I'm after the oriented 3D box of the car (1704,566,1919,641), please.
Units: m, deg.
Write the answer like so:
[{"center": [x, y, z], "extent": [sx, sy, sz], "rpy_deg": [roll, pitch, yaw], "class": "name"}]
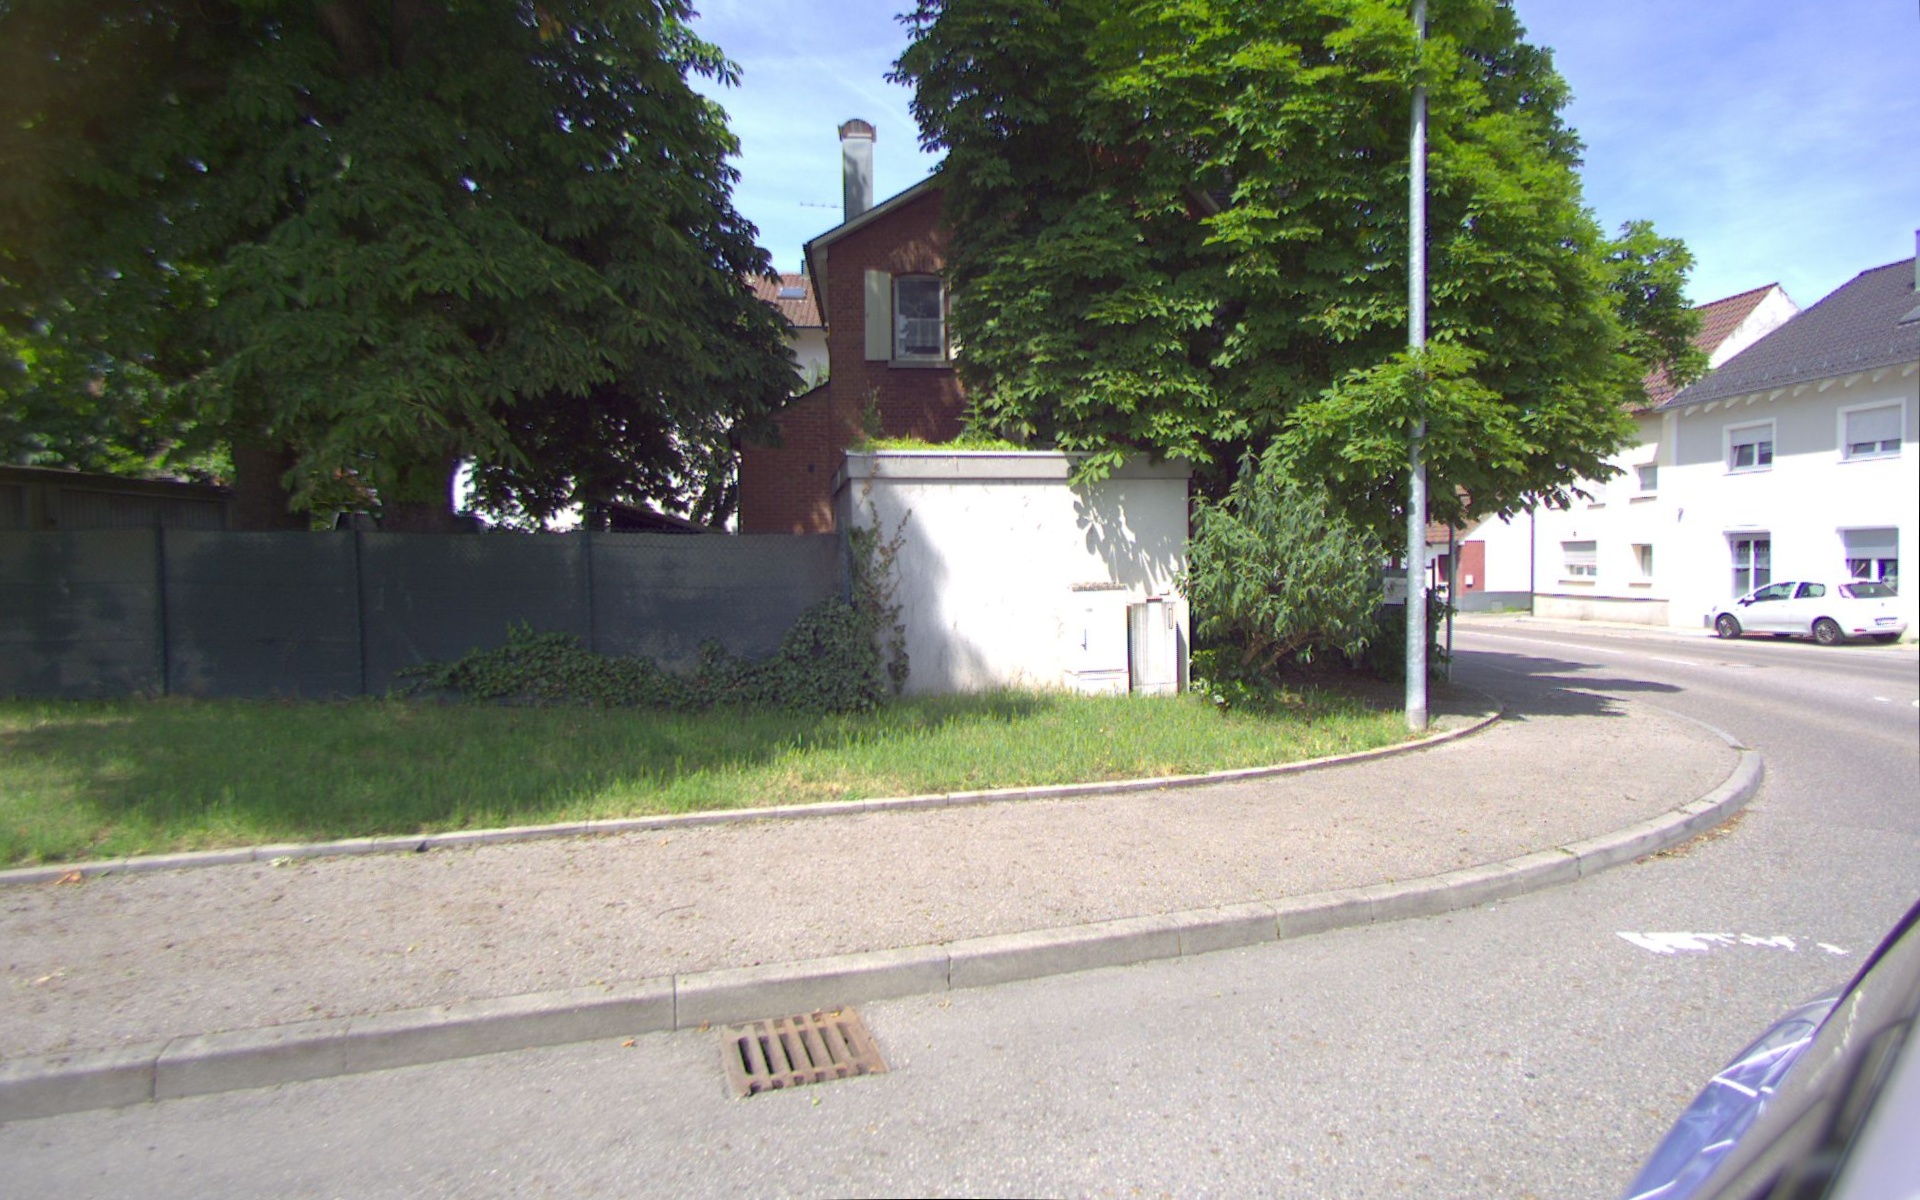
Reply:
[{"center": [19.818, 0.026, 23.508], "extent": [1.789, 1.521, 4.006], "rpy_deg": [-3, 2, -7], "class": "car"}]
